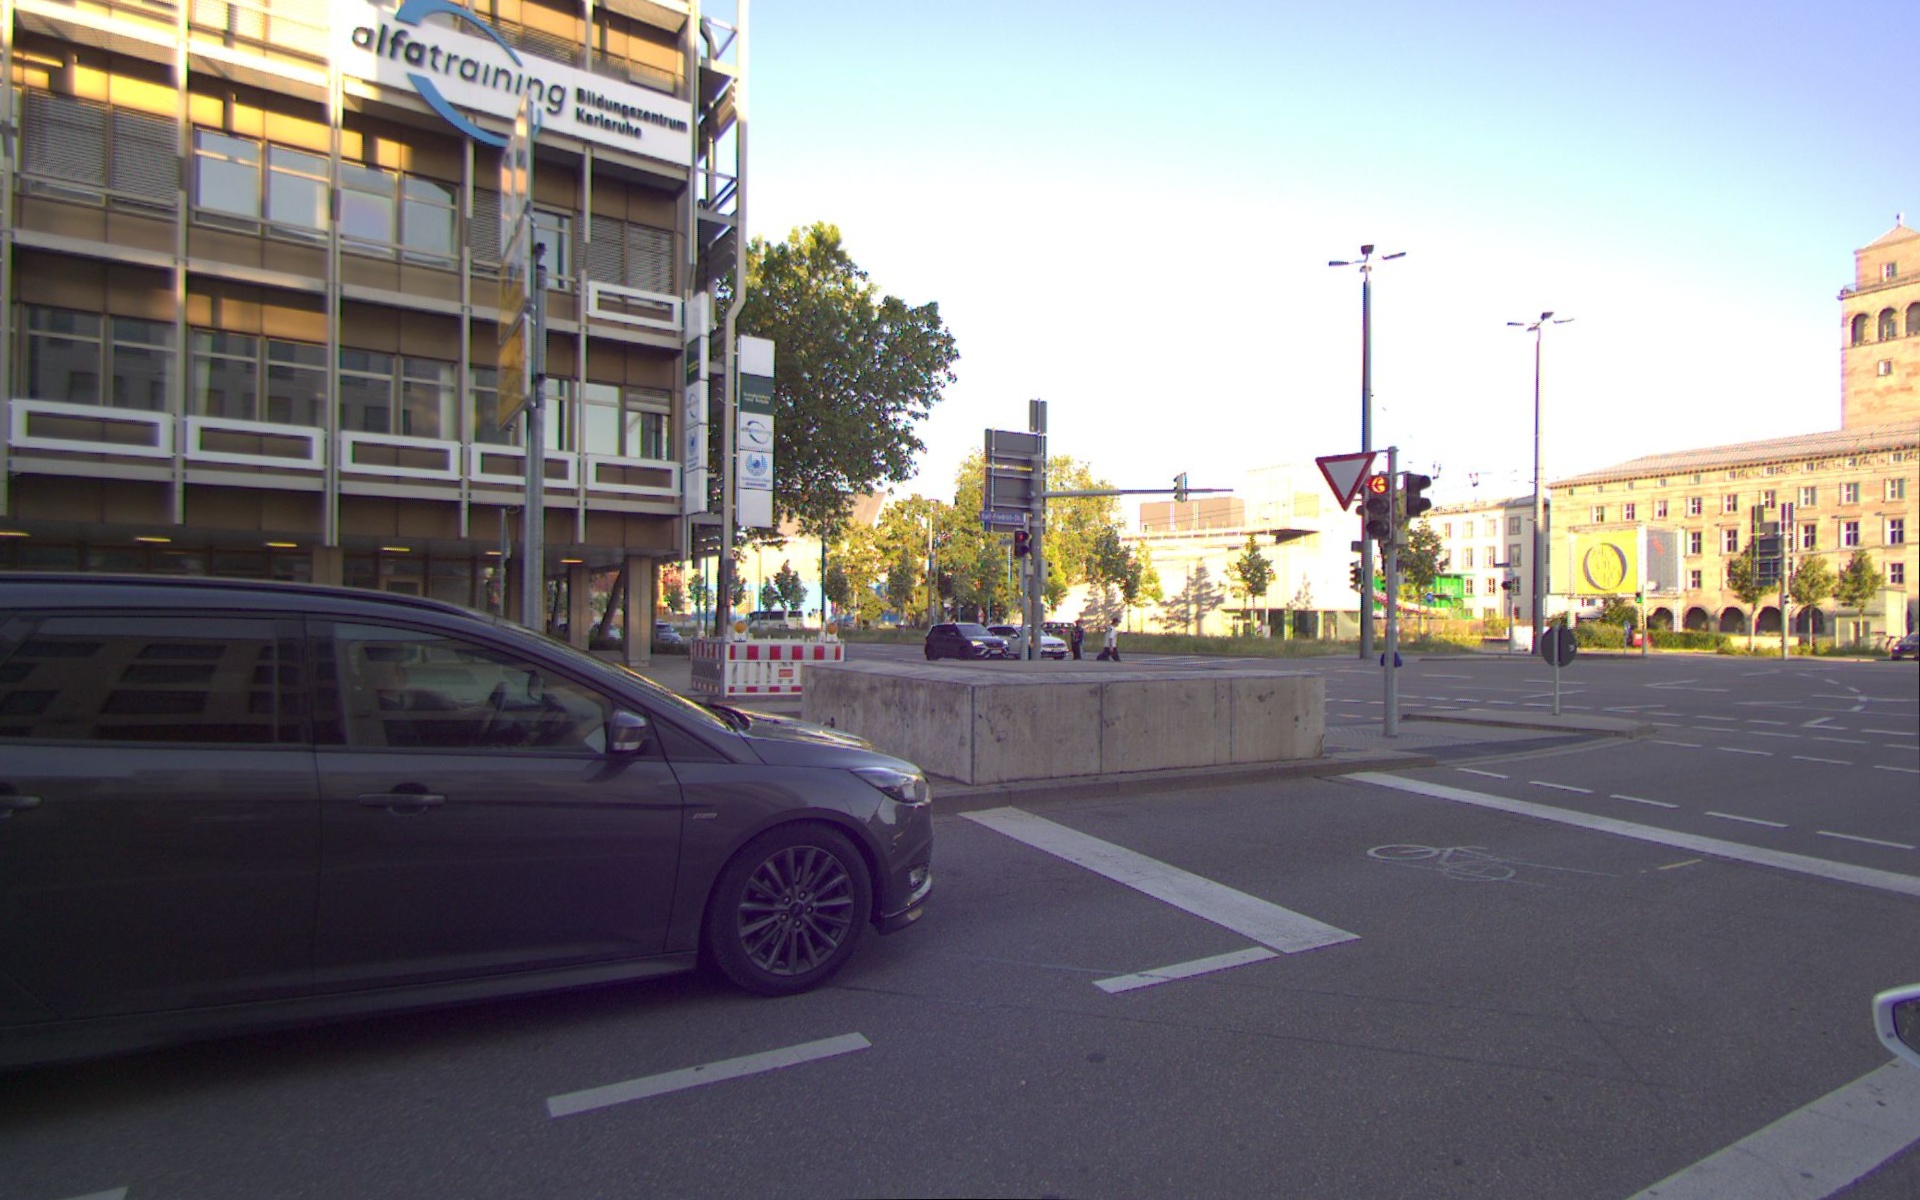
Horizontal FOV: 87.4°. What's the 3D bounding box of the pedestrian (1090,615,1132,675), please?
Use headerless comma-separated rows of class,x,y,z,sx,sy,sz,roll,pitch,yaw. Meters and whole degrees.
pedestrian,4.489,1.324,29.861,0.949,1.744,0.816,1,-1,-34

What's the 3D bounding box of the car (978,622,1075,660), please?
car,2.686,1.655,41.753,1.829,1.476,4.554,0,-1,-30

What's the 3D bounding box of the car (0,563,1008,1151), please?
car,-2.101,0.647,3.735,4.330,1.482,1.748,1,1,-31

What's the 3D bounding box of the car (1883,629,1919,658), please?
car,51.059,2.290,53.447,4.111,1.485,1.813,0,-1,-32

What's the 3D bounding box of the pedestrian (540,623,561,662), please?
pedestrian,-19.367,2.002,47.496,0.749,1.830,0.715,2,0,-35

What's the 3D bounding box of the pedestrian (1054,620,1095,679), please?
pedestrian,3.468,1.483,30.387,0.949,1.744,0.816,1,-1,-34

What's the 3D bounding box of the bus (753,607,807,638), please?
bus,-23.382,2.857,129.990,2.959,3.818,10.341,1,-1,-34

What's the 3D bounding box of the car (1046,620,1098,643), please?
car,8.175,2.276,73.767,1.725,1.626,4.100,1,-1,-31

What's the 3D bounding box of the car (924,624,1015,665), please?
car,0.316,1.690,39.373,1.829,1.476,3.921,0,-1,-30

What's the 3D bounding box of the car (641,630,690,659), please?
car,-17.293,2.572,58.832,1.722,1.605,4.554,0,-1,-30

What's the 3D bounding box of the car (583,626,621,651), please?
car,-24.828,2.635,69.583,1.722,1.605,3.764,0,-1,-31
